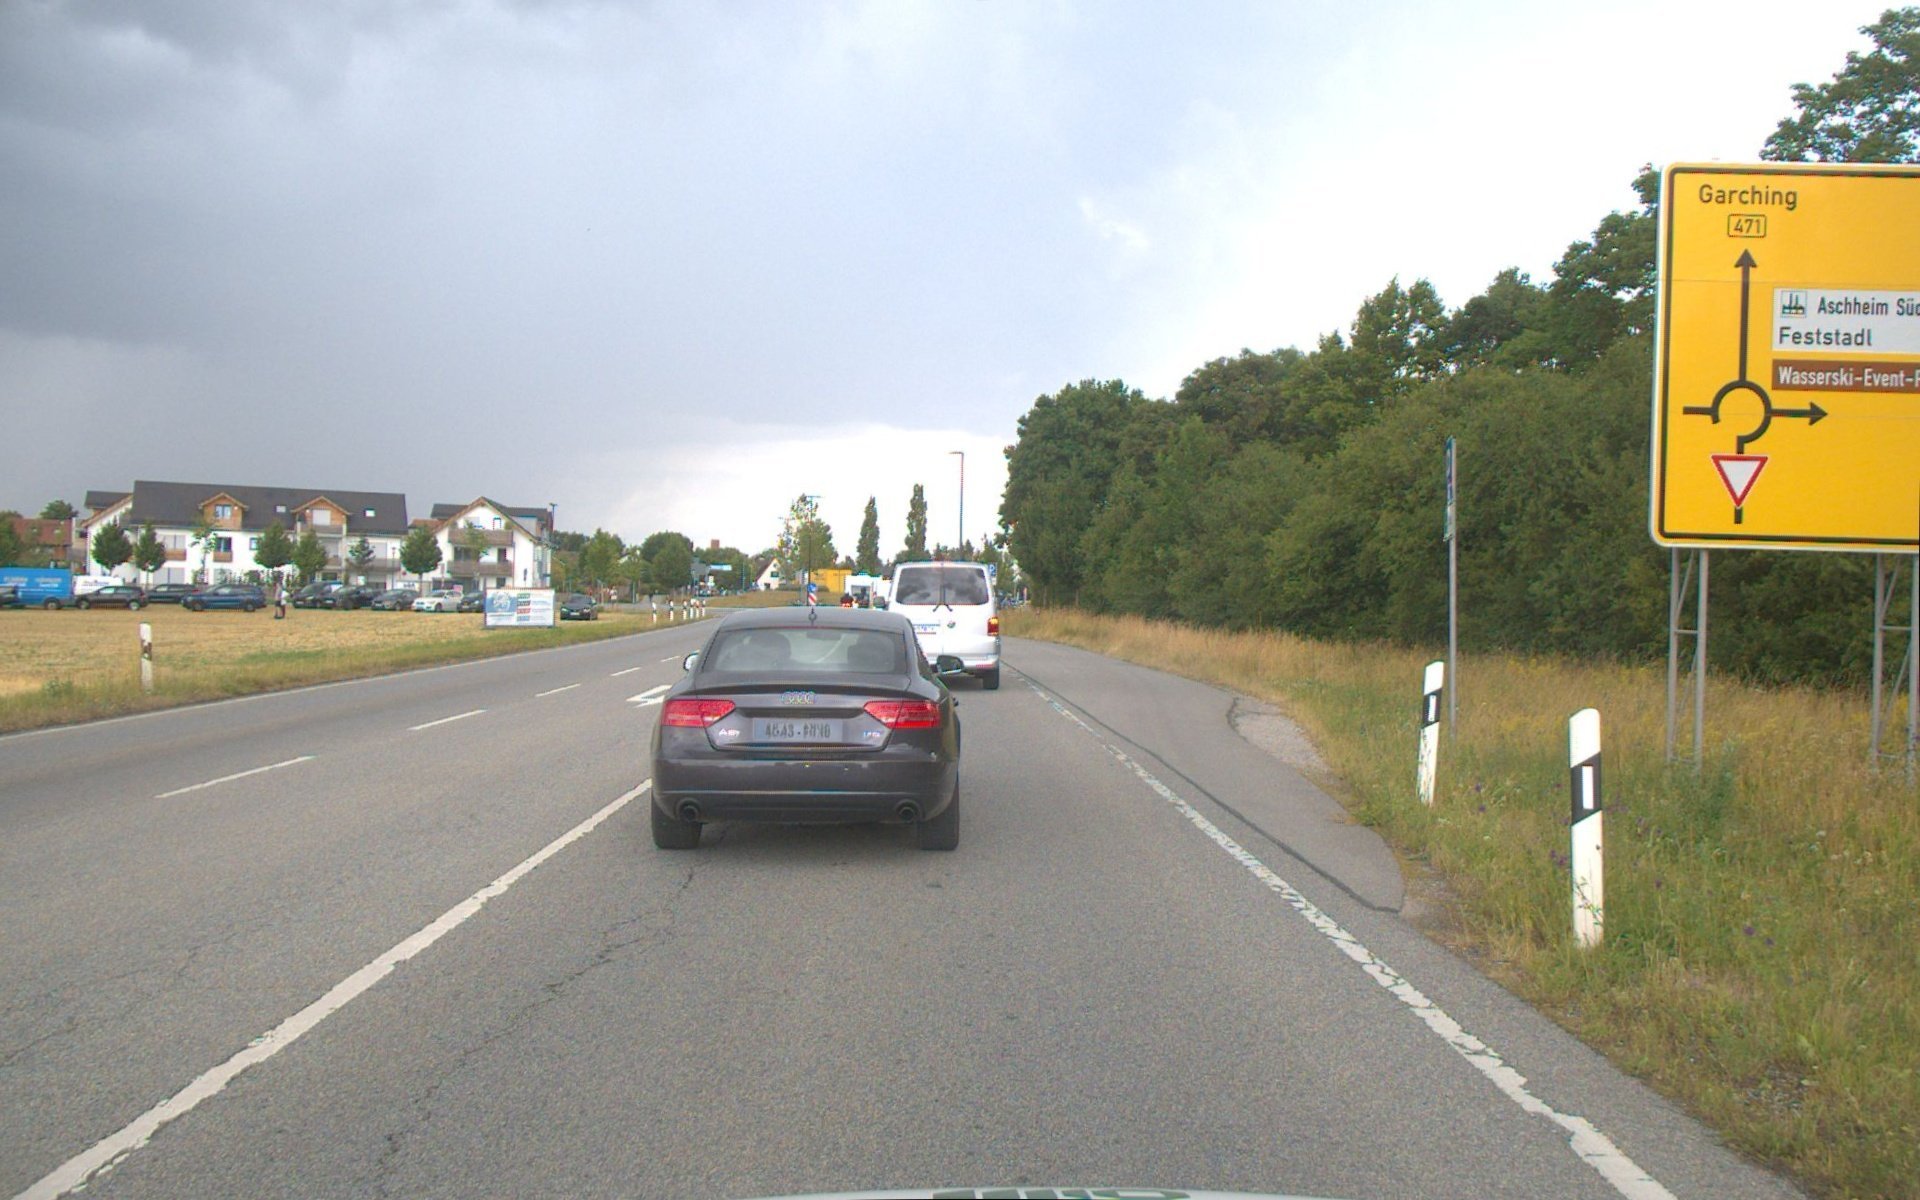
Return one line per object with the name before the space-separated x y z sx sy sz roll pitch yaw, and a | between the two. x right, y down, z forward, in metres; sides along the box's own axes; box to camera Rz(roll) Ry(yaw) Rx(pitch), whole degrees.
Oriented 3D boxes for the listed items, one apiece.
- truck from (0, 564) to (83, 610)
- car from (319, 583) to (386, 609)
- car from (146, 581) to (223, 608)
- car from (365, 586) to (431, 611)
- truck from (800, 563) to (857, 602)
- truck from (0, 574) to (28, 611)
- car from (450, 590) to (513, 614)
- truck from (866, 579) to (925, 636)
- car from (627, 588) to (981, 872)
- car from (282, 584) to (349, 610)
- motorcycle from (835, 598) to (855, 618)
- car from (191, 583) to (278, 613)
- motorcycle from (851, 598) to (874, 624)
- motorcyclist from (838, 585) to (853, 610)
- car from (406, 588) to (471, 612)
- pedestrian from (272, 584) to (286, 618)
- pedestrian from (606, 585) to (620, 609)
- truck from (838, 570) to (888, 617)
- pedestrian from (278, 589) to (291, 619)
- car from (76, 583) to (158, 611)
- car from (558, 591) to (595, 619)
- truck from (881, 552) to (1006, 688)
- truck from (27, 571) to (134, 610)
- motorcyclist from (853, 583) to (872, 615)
truck | -52.032 -0.746 92.171 5.378 2.489 2.375 1 0 -25
car | -39.402 -0.246 107.372 1.951 1.657 4.214 1 0 16
car | -51.987 -0.358 110.942 4.561 1.727 1.987 1 0 -22
car | -36.310 -0.114 106.970 1.951 1.562 4.214 1 0 16
truck | -13.089 -1.790 164.024 3.519 3.640 9.910 2 0 -17
truck | -52.559 -0.415 87.906 5.167 1.954 2.093 1 0 -29
car | -30.740 0.111 106.353 1.951 1.471 4.214 1 0 16
truck | -2.433 0.276 63.503 2.149 2.049 5.083 1 0 -2
car | -0.890 0.675 10.735 1.837 1.479 4.175 0 0 -2
car | -42.606 -0.218 109.419 1.951 1.657 4.214 1 0 16
motorcycle | -6.343 0.447 91.215 0.926 1.037 2.280 1 0 -7
car | -43.602 -0.112 99.489 4.650 1.727 1.987 1 0 -22
motorcycle | -4.373 0.494 74.304 0.901 1.113 2.189 1 0 0
motorcyclist | -6.320 -0.142 91.151 0.771 1.380 0.852 1 0 -8
car | -33.590 -0.023 106.654 1.951 1.471 4.214 1 0 16
pedestrian | -35.921 0.051 87.198 0.539 1.817 0.676 1 0 -13
pedestrian | -23.919 -0.199 114.128 0.686 1.613 0.658 1 0 15
truck | -6.050 -0.400 102.476 2.577 2.785 5.856 2 0 -8
pedestrian | -36.016 0.233 88.203 0.581 1.582 0.622 1 0 -21
car | -49.346 -0.156 96.911 4.097 1.545 1.987 1 0 -23
car | -21.837 0.271 94.231 1.959 1.467 3.988 1 1 -13
truck | -0.313 0.292 27.354 1.866 2.033 4.627 1 0 -2
truck | -52.847 -0.566 99.551 5.493 2.235 2.587 1 0 -25
motorcyclist | -4.385 -0.026 74.165 0.756 1.407 0.820 1 0 0
